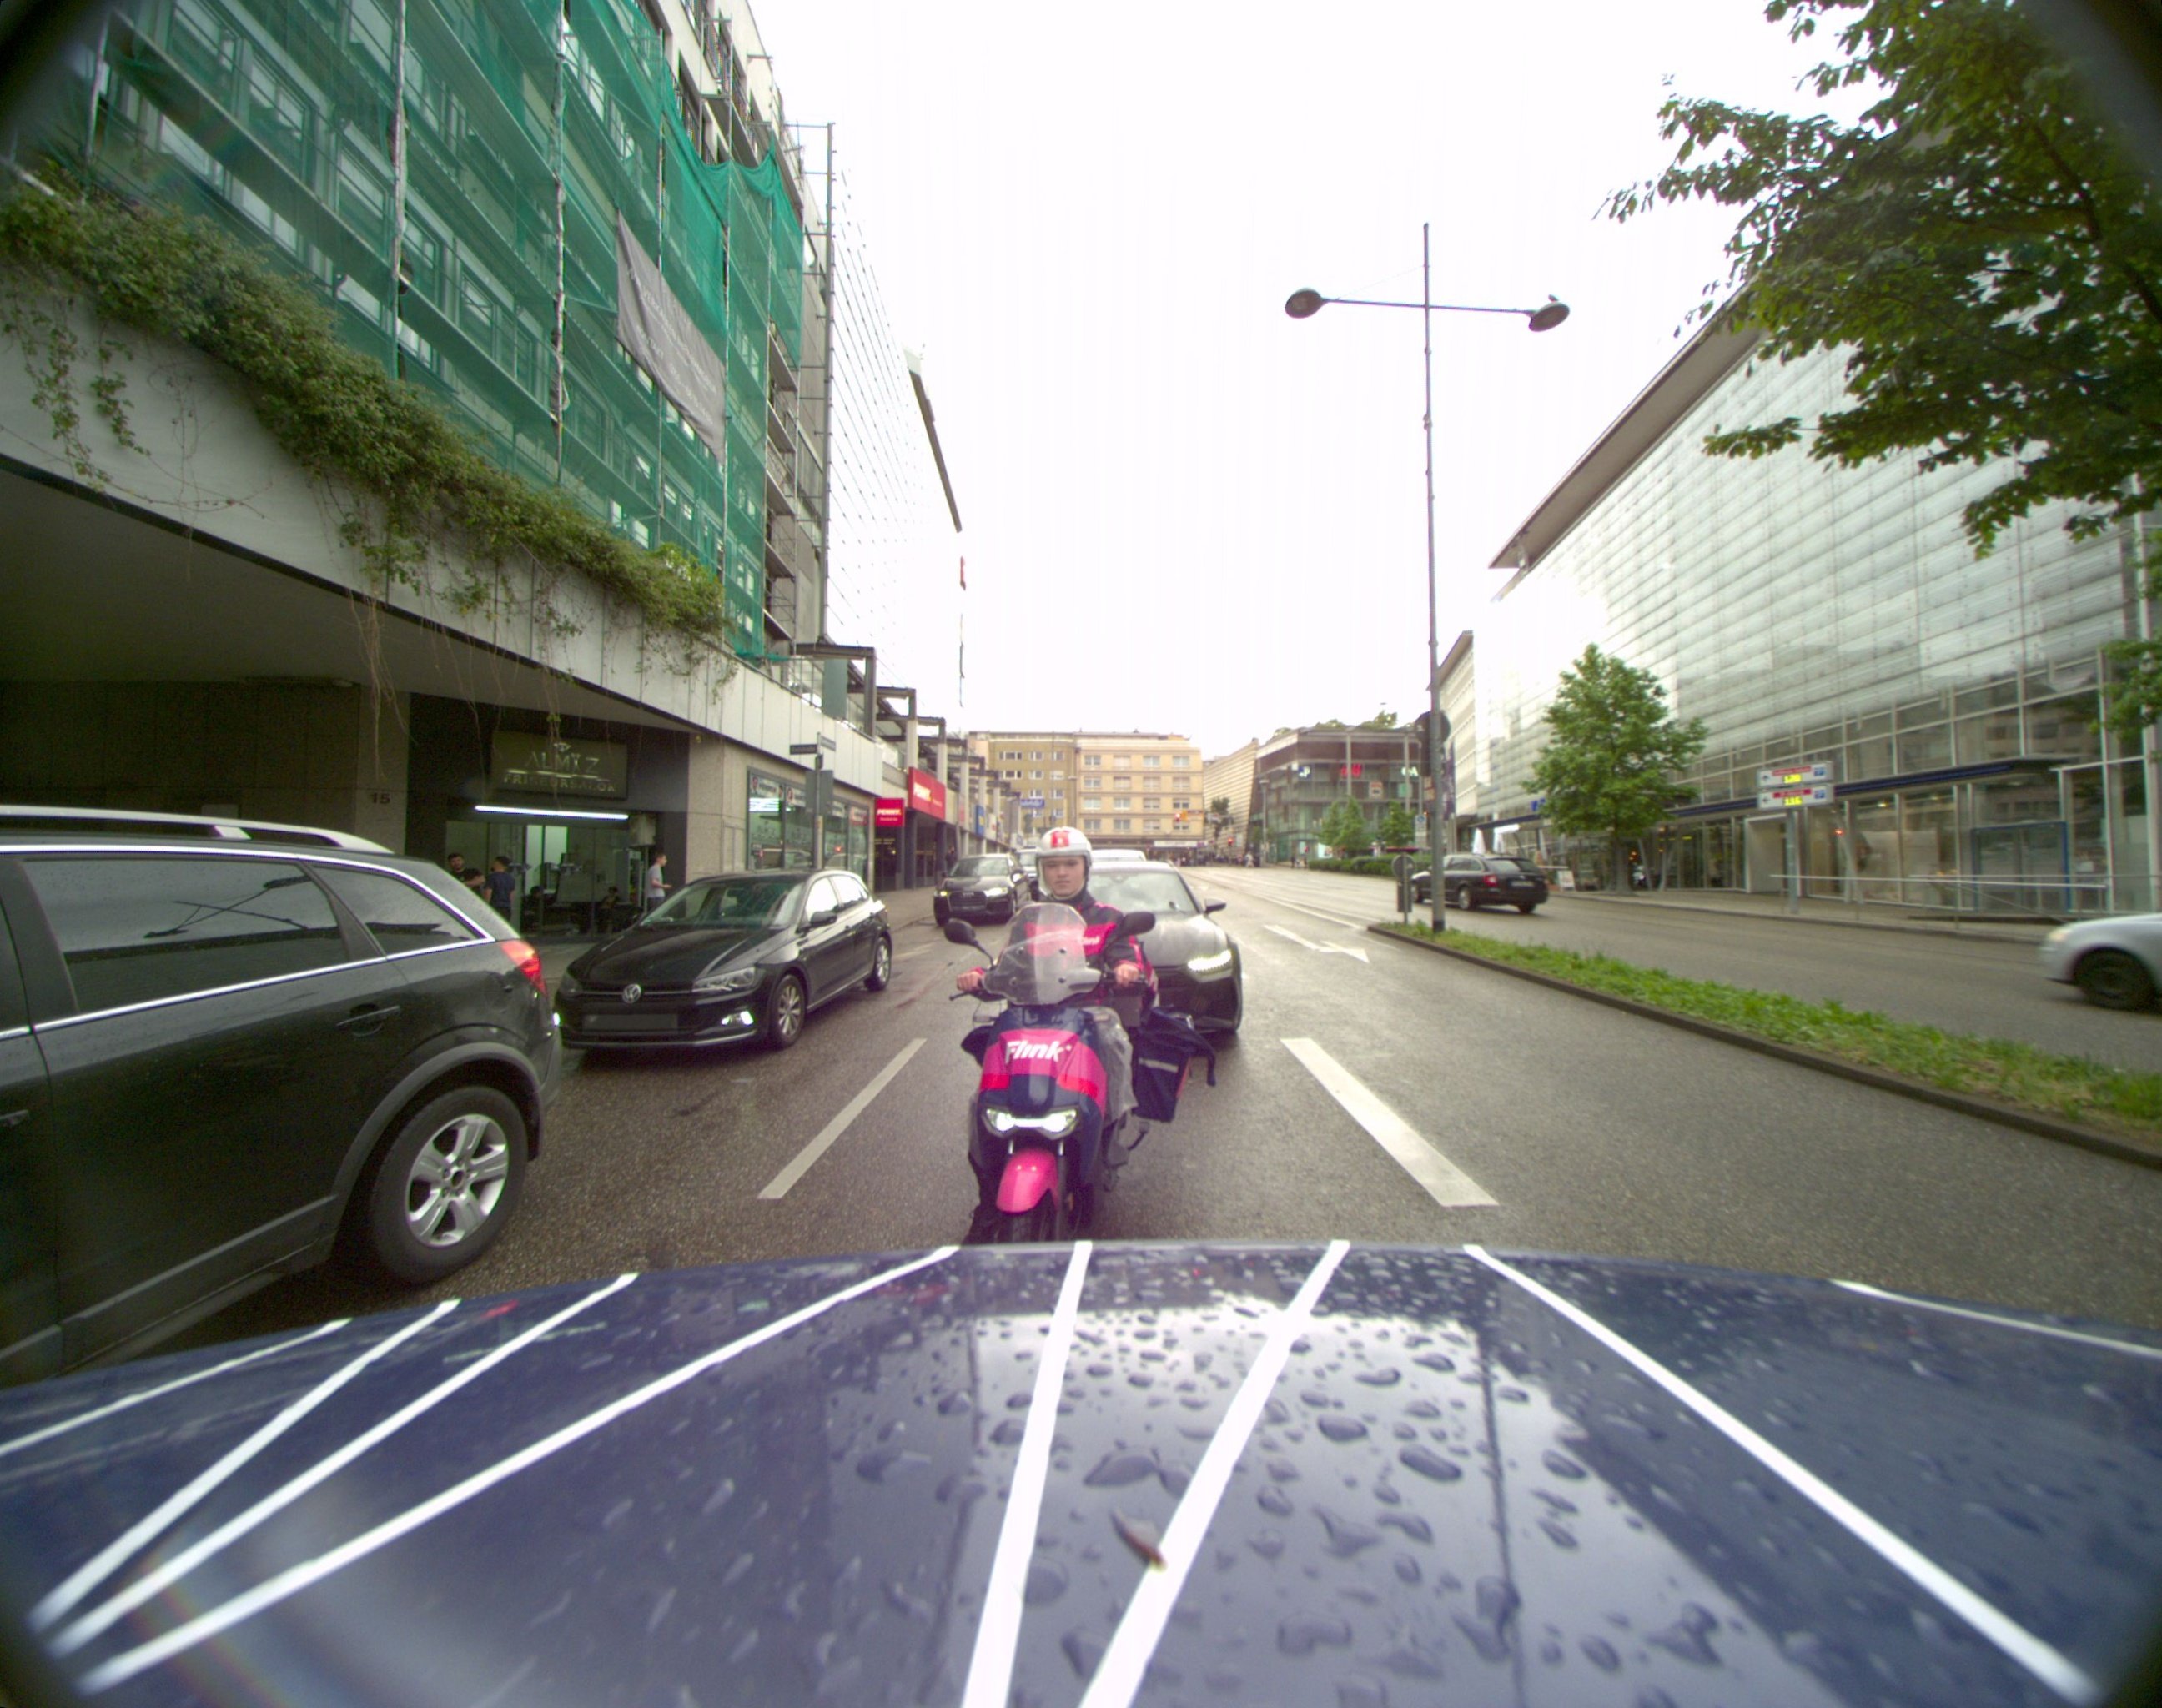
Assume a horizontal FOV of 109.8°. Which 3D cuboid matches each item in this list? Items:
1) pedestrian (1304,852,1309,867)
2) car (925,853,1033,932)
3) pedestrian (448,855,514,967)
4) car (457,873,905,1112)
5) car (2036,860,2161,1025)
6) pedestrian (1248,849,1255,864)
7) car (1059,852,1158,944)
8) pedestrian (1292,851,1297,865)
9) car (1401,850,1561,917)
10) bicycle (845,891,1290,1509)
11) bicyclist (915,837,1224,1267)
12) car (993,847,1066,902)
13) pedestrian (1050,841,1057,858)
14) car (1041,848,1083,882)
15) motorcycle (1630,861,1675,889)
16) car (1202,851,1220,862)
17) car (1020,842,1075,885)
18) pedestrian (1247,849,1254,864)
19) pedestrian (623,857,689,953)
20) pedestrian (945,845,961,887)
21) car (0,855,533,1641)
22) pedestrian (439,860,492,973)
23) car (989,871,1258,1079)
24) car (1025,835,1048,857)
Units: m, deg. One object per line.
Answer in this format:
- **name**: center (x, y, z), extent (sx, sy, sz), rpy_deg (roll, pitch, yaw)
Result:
- **pedestrian**: center (24.941, 0.577, 83.962), extent (0.428, 1.620, 0.602), rpy_deg (1, 1, 5)
- **car**: center (-2.323, 0.820, 18.348), extent (1.841, 1.598, 4.164), rpy_deg (-2, 1, 2)
- **pedestrian**: center (-8.879, 0.818, 11.270), extent (0.640, 1.586, 0.576), rpy_deg (-3, 2, -32)
- **car**: center (-3.181, 0.990, 7.169), extent (1.758, 1.495, 4.165), rpy_deg (-2, -1, 4)
- **car**: center (10.736, 0.903, 5.956), extent (1.637, 1.460, 3.751), rpy_deg (2, 3, -1)
- **pedestrian**: center (18.441, 0.240, 82.032), extent (0.633, 1.620, 0.602), rpy_deg (1, 1, 4)
- **car**: center (0.566, 0.764, 15.248), extent (1.675, 1.520, 4.164), rpy_deg (-2, 1, 2)
- **pedestrian**: center (24.483, 0.444, 87.173), extent (0.428, 1.620, 0.602), rpy_deg (1, 1, 3)
- **car**: center (10.434, 0.697, 20.307), extent (1.637, 1.477, 4.736), rpy_deg (1, 1, -1)
- **bicycle**: center (-0.013, 0.917, 3.312), extent (1.034, 1.279, 2.948), rpy_deg (-2, 1, 1)
- **bicyclist**: center (-0.034, 0.713, 3.157), extent (1.063, 1.534, 0.825), rpy_deg (-2, 2, 0)
- **car**: center (-1.667, 0.676, 26.140), extent (1.988, 1.696, 4.165), rpy_deg (-2, 0, 2)
- **pedestrian**: center (-2.604, -0.404, 71.821), extent (0.634, 1.620, 0.602), rpy_deg (0, 1, -1)
- **car**: center (-0.978, 0.589, 41.547), extent (1.988, 1.696, 4.165), rpy_deg (-2, 0, 2)
- **motorcycle**: center (28.143, 1.022, 37.417), extent (1.707, 1.319, 0.620), rpy_deg (0, 1, 1)
- **car**: center (23.246, 0.454, 135.834), extent (2.000, 2.002, 4.584), rpy_deg (0, 1, -7)
- **car**: center (-1.380, 0.389, 33.176), extent (1.988, 1.696, 4.165), rpy_deg (-2, 0, 2)
- **pedestrian**: center (18.464, 0.279, 82.827), extent (0.633, 1.620, 0.602), rpy_deg (0, 1, 2)
- **pedestrian**: center (-7.557, 0.892, 13.525), extent (0.732, 1.633, 0.640), rpy_deg (-1, 2, 25)
- **pedestrian**: center (-5.091, 0.481, 30.266), extent (0.510, 1.669, 0.579), rpy_deg (0, 2, 0)
- **car**: center (-3.330, 0.904, 1.244), extent (1.764, 1.755, 4.164), rpy_deg (-2, 0, 1)
- **pedestrian**: center (-9.537, 0.947, 11.776), extent (0.466, 1.698, 0.484), rpy_deg (0, 2, 42)
- **car**: center (0.391, 0.925, 7.565), extent (1.890, 1.391, 4.165), rpy_deg (-2, -1, 2)
- **car**: center (-4.280, -0.812, 73.537), extent (1.605, 2.002, 3.400), rpy_deg (-2, 1, 7)
